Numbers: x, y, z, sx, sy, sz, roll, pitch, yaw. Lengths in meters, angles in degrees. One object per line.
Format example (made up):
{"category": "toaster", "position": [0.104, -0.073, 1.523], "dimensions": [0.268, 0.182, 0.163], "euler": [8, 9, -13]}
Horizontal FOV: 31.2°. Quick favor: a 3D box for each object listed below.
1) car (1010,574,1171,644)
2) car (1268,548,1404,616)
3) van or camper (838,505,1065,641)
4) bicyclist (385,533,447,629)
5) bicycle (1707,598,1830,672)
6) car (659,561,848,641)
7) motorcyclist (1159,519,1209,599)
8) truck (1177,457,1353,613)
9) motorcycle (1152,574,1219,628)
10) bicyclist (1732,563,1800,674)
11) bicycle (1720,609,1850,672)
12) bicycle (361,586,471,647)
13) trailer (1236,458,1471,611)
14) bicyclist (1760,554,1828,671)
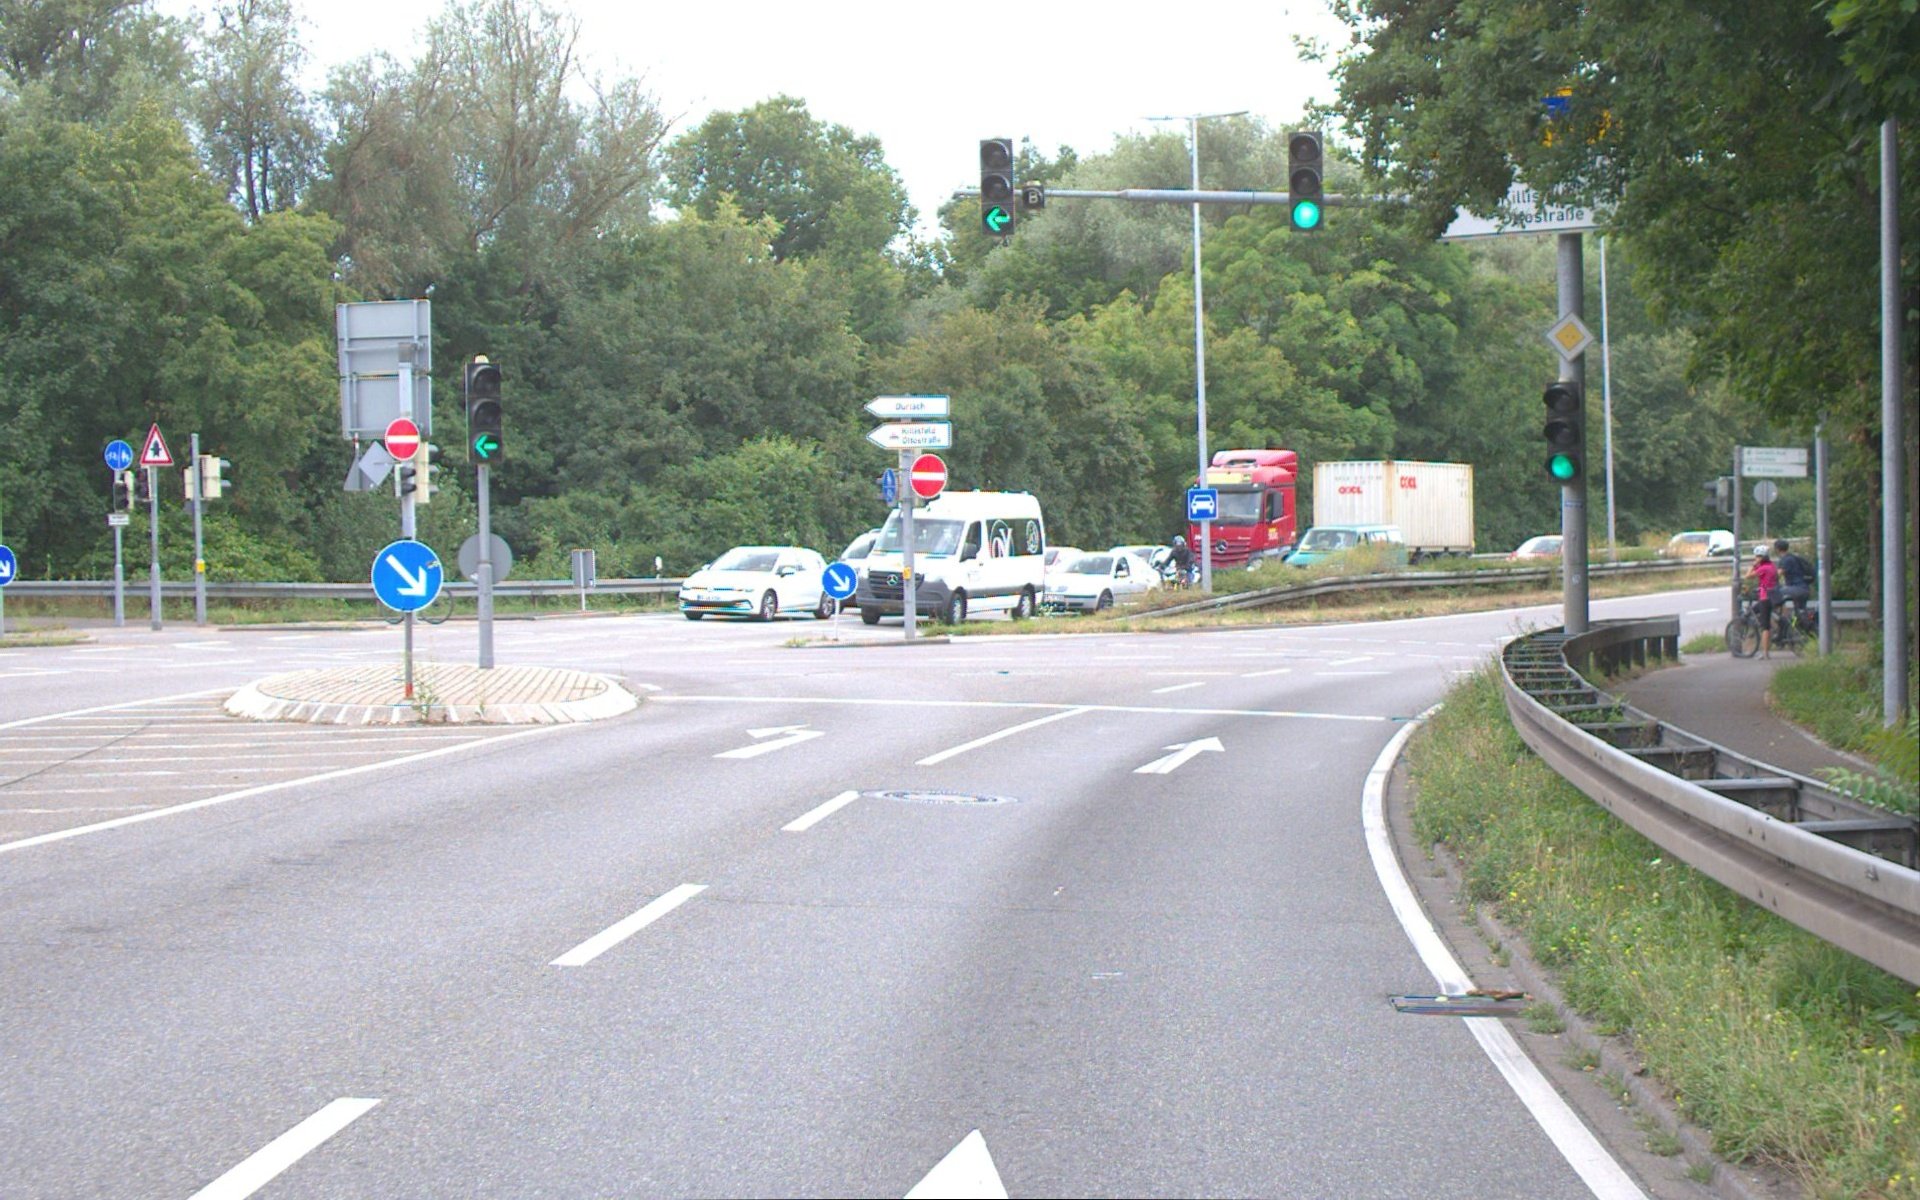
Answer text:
{"category": "car", "position": [2.898, 0.170, 75.218], "dimensions": [1.996, 1.493, 4.394], "euler": [0, 0, 25]}
{"category": "car", "position": [9.808, -0.482, 89.347], "dimensions": [1.807, 1.723, 4.953], "euler": [0, 0, 28]}
{"category": "van or camper", "position": [-0.091, -0.543, 69.038], "dimensions": [2.163, 2.580, 6.488], "euler": [0, 0, 23]}
{"category": "bicyclist", "position": [-9.940, -0.351, 62.789], "dimensions": [0.744, 1.729, 0.799], "euler": [-1, -1, 31]}
{"category": "bicycle", "position": [12.650, 0.549, 53.804], "dimensions": [1.745, 1.134, 0.629], "euler": [-1, 0, 33]}
{"category": "car", "position": [-4.052, -0.001, 68.301], "dimensions": [1.996, 1.541, 4.533], "euler": [0, 0, 22]}
{"category": "motorcyclist", "position": [5.145, -0.934, 78.924], "dimensions": [0.866, 1.817, 0.924], "euler": [0, 0, 24]}
{"category": "truck", "position": [8.291, -1.726, 92.866], "dimensions": [2.572, 4.069, 5.613], "euler": [0, 0, 31]}
{"category": "motorcycle", "position": [5.170, 0.008, 78.742], "dimensions": [0.800, 1.220, 2.323], "euler": [0, 0, 23]}
{"category": "bicyclist", "position": [12.630, 0.294, 53.847], "dimensions": [0.852, 1.726, 0.636], "euler": [-1, 0, 33]}
{"category": "bicycle", "position": [13.229, 0.646, 55.135], "dimensions": [1.973, 0.938, 0.660], "euler": [-2, 0, 17]}
{"category": "bicycle", "position": [-9.937, 0.310, 62.760], "dimensions": [1.941, 1.049, 0.707], "euler": [-2, -1, 30]}
{"category": "trailer", "position": [11.372, -1.816, 98.138], "dimensions": [2.539, 4.133, 10.753], "euler": [0, 0, 30]}
{"category": "bicyclist", "position": [13.372, 0.202, 55.116], "dimensions": [0.949, 1.838, 0.664], "euler": [-2, 0, 16]}
